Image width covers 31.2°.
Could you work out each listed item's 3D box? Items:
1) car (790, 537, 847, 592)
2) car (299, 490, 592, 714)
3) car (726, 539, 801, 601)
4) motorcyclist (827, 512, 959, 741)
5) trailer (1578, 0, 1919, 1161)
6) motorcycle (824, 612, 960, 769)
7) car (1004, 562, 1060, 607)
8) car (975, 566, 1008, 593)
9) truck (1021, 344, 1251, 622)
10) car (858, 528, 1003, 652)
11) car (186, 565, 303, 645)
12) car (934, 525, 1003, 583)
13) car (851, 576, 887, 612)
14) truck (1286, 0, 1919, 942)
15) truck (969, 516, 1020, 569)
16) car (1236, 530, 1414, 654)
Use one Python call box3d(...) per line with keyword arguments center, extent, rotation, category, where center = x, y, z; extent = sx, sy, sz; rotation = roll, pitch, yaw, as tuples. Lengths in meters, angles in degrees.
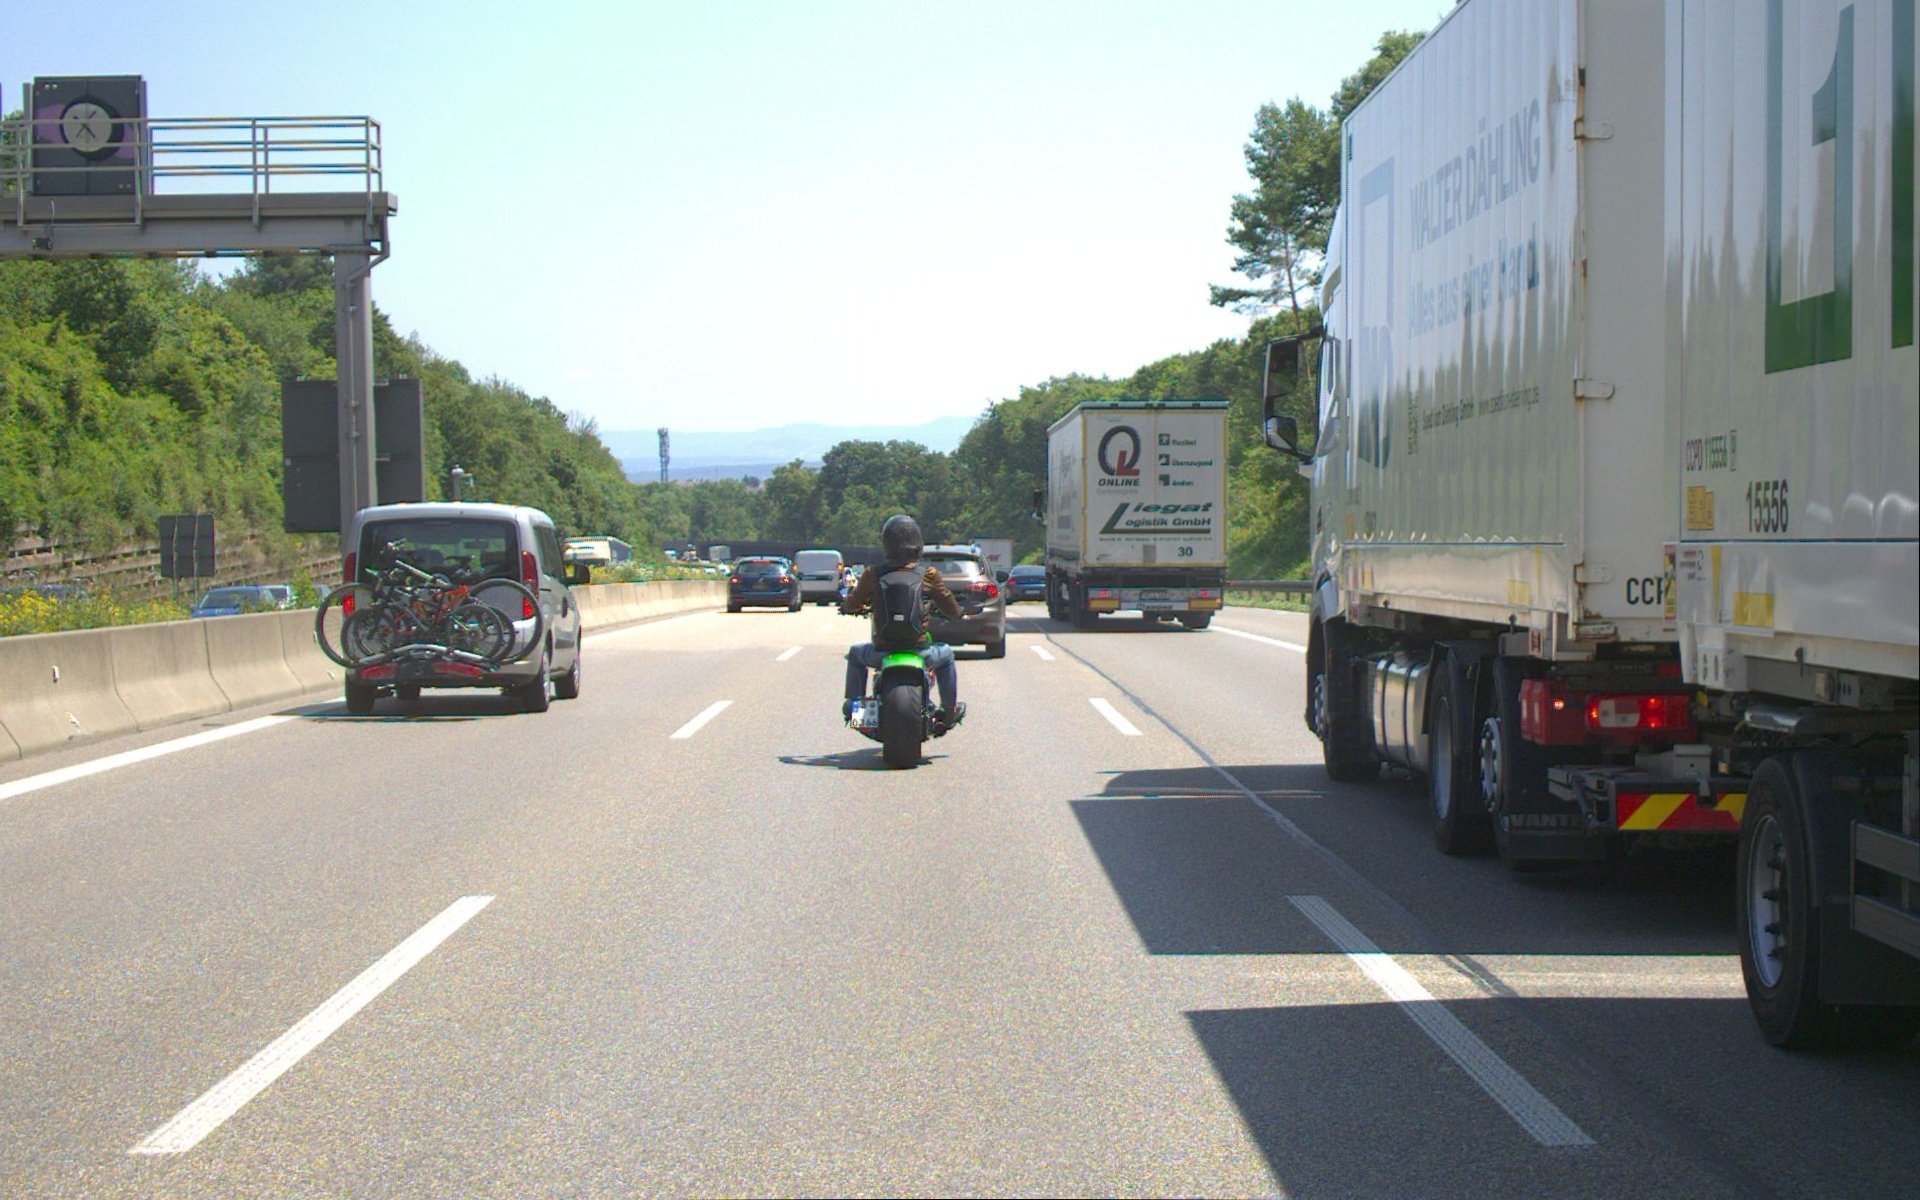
box3d(center=(-4.842, -1.236, 117.896), extent=(1.831, 1.804, 4.120), rotation=(0, 1, -1), category="car")
box3d(center=(-4.545, -0.016, 31.142), extent=(1.898, 1.841, 5.483), rotation=(0, 1, -1), category="car")
box3d(center=(-5.099, -0.800, 89.424), extent=(1.758, 1.538, 4.395), rotation=(0, 1, -1), category="car")
box3d(center=(-0.443, 0.170, 23.156), extent=(0.856, 1.510, 0.914), rotation=(0, 0, 0), category="motorcyclist")
box3d(center=(3.656, -0.718, 7.419), extent=(2.680, 4.161, 10.066), rotation=(0, 1, -1), category="trailer")
box3d(center=(-0.440, 0.590, 23.298), extent=(0.862, 0.978, 2.131), rotation=(0, 1, 0), category="motorcycle")
box3d(center=(2.538, -0.557, 121.300), extent=(1.831, 1.521, 4.027), rotation=(0, 1, -1), category="car")
box3d(center=(1.829, -1.190, 199.361), extent=(1.831, 1.521, 4.027), rotation=(0, 1, -1), category="car")
box3d(center=(3.189, -2.187, 68.012), extent=(3.383, 4.702, 17.710), rotation=(1, 1, -1), category="truck")
box3d(center=(-0.409, -0.174, 46.005), extent=(1.845, 1.552, 4.440), rotation=(0, 1, -1), category="car")
box3d(center=(-15.771, 0.093, 75.964), extent=(1.707, 1.599, 4.199), rotation=(-2, 1, -1), category="car")
box3d(center=(0.217, -1.294, 94.983), extent=(1.831, 1.553, 4.120), rotation=(0, 1, -1), category="car")
box3d(center=(-4.781, -0.339, 180.720), extent=(1.831, 1.804, 4.120), rotation=(0, 1, -1), category="car")
box3d(center=(3.556, -0.879, 17.825), extent=(2.680, 4.045, 10.626), rotation=(0, 1, 0), category="truck")
box3d(center=(2.205, -3.750, 223.436), extent=(3.067, 3.335, 9.652), rotation=(1, 1, -1), category="truck")
box3d(center=(4.833, -0.153, 46.092), extent=(1.845, 1.552, 4.393), rotation=(0, 1, -1), category="car")
